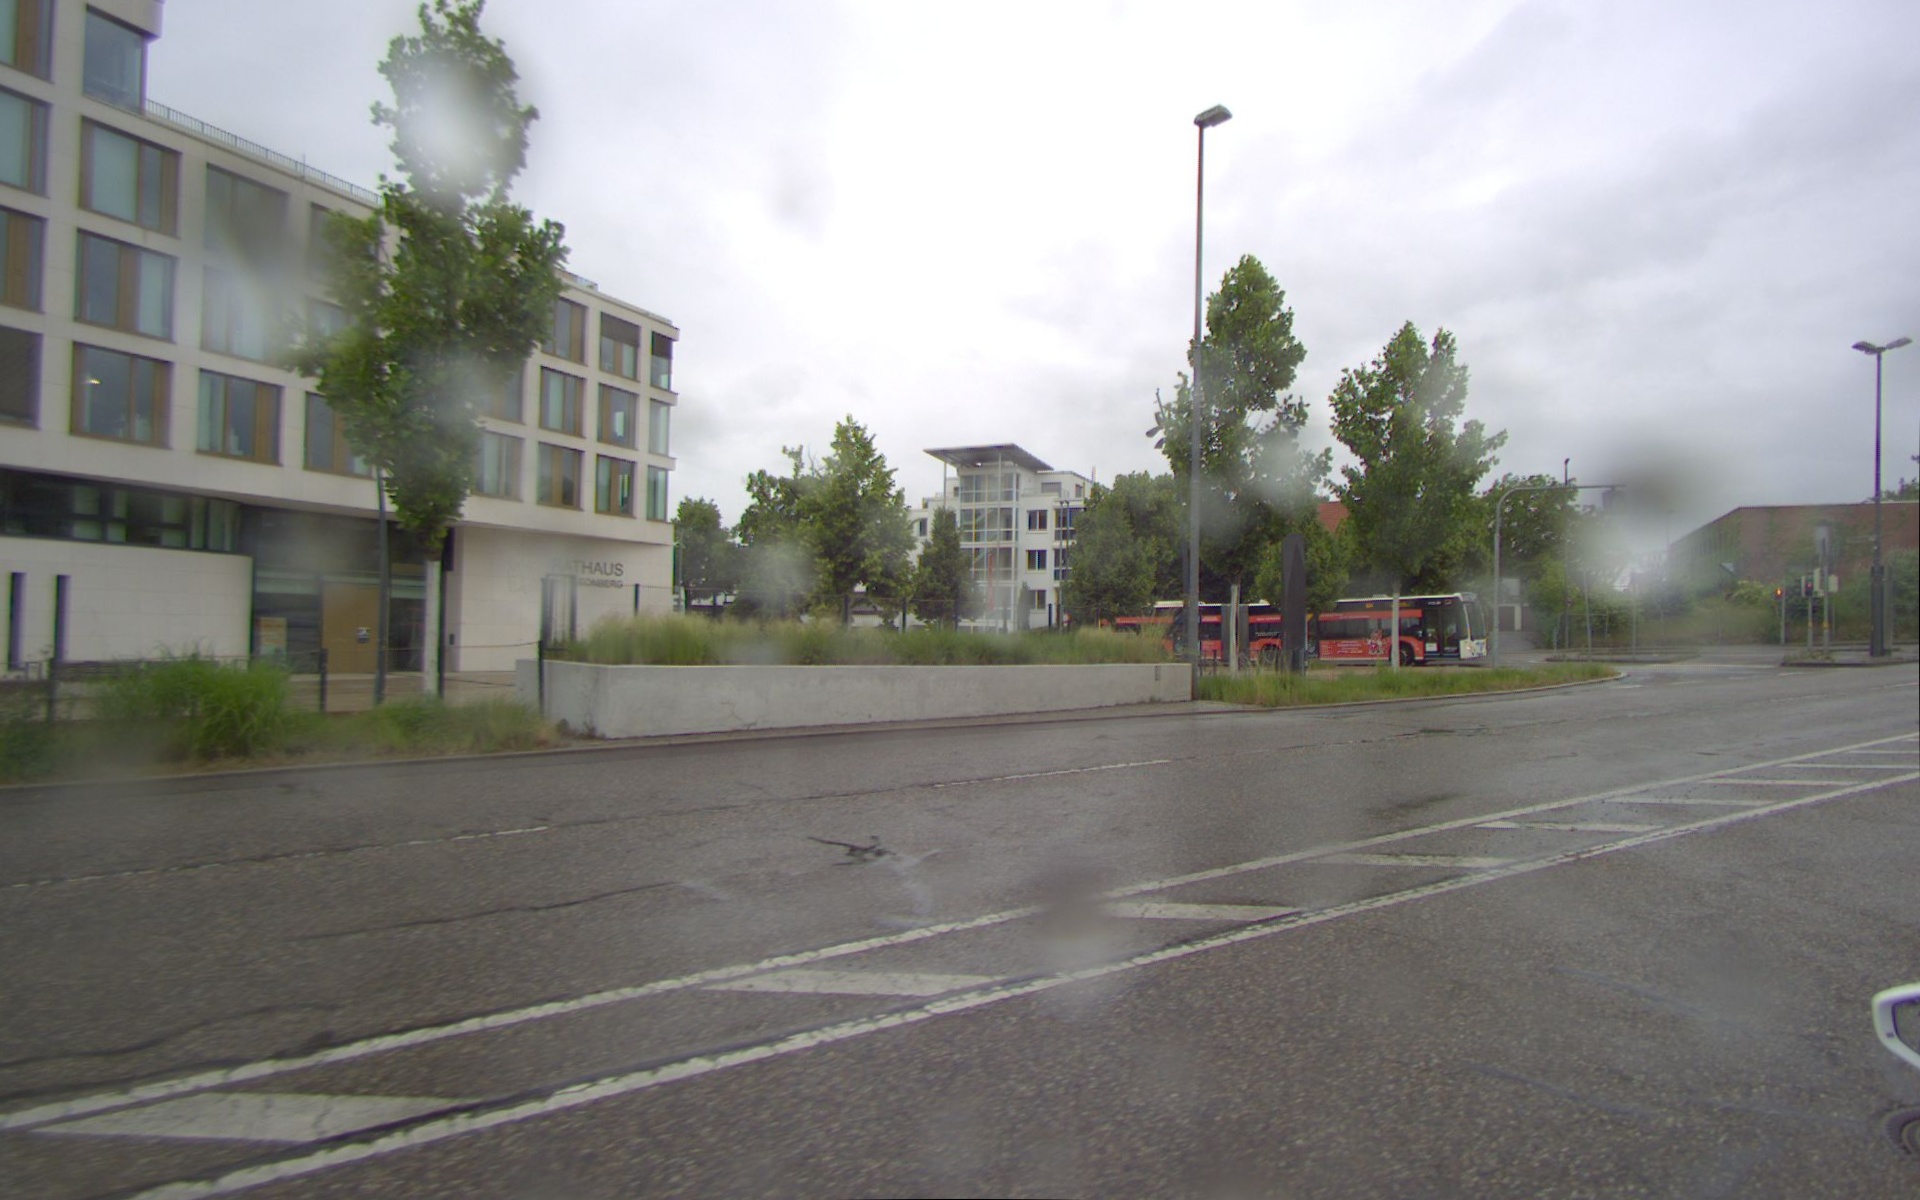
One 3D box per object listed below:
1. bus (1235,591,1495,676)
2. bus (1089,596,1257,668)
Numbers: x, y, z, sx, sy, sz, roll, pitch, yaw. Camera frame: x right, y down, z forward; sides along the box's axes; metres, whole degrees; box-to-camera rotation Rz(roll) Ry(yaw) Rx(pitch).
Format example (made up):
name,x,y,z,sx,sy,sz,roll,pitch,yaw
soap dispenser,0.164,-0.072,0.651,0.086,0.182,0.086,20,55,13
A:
name,x,y,z,sx,sy,sz,roll,pitch,yaw
bus,17.527,1.482,44.149,10.259,3.323,2.849,-1,-5,42
bus,10.539,1.587,50.084,7.709,3.323,2.736,0,-4,34
